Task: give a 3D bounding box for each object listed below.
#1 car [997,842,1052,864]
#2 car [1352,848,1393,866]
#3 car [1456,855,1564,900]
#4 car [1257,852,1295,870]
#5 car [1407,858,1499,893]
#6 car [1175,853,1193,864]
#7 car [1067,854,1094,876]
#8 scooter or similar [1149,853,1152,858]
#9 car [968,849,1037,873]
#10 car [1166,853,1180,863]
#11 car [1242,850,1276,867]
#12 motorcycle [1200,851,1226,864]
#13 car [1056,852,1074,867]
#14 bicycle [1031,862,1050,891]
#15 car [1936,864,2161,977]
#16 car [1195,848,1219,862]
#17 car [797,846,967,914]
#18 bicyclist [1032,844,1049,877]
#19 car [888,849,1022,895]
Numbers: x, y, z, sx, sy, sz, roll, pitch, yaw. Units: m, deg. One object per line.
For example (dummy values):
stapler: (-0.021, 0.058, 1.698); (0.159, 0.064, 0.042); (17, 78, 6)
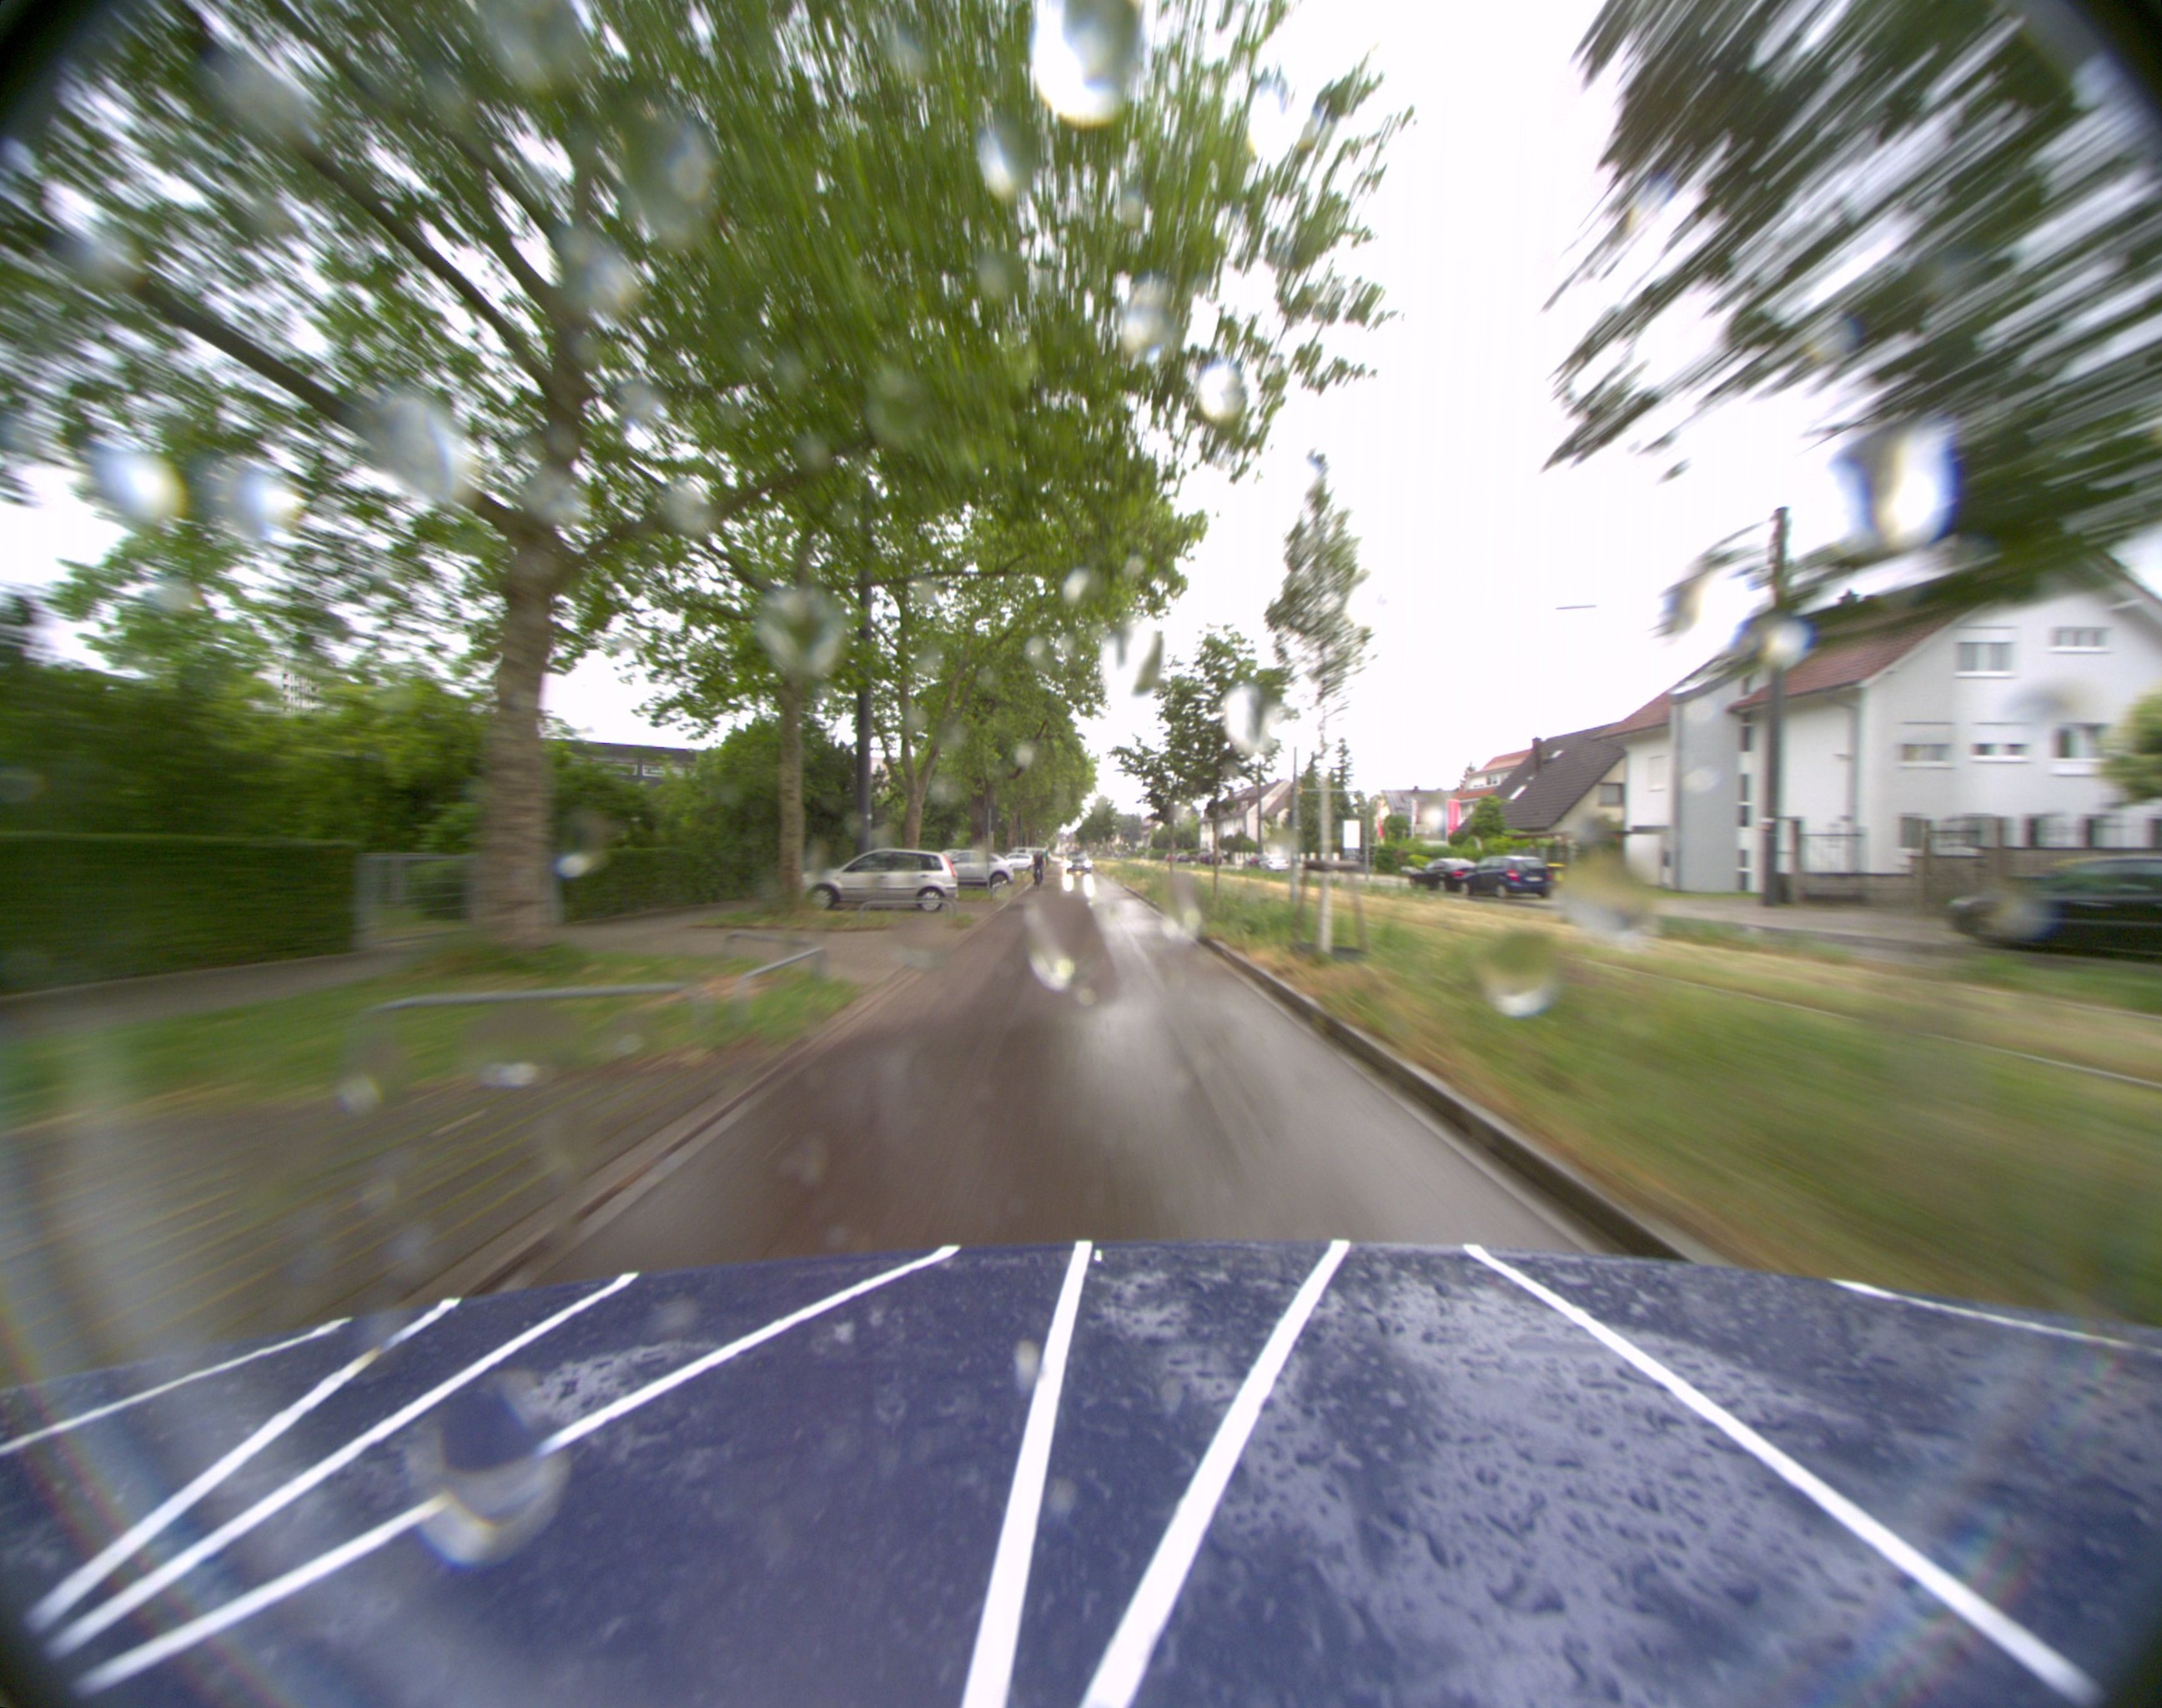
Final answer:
car: (-5.485, -0.063, 74.176); (5.040, 2.002, 1.994); (2, 0, -36)
car: (23.475, 0.245, 61.337); (1.703, 1.402, 3.970); (-2, 0, -1)
car: (16.252, 0.837, 29.024); (1.878, 1.541, 3.869); (-2, 0, -1)
car: (16.061, 0.552, 62.806); (1.999, 1.402, 3.970); (-2, 0, -1)
car: (16.349, 0.906, 33.662); (1.998, 1.343, 4.240); (-2, 0, 1)
car: (15.053, 0.650, 111.383); (1.998, 1.402, 4.761); (-2, 0, 1)
car: (-0.073, 0.754, 55.463); (1.781, 1.477, 3.999); (2, 0, -2)
scooter or similar: (14.836, 0.305, 163.160); (0.347, 0.905, 1.258); (1, 0, -7)
car: (-5.655, 0.493, 54.765); (4.570, 1.535, 1.883); (3, -1, -33)
car: (14.896, 0.622, 122.816); (1.802, 1.448, 4.000); (-2, 0, 1)
car: (15.808, 0.379, 67.833); (1.998, 1.447, 4.531); (-2, 0, 1)
motorcycle: (15.538, 0.420, 89.415); (2.680, 1.403, 1.269); (0, 2, 41)
car: (-1.753, 0.582, 81.236); (1.781, 1.477, 3.999); (2, 0, -2)
bicycle: (-1.773, 0.937, 32.945); (0.675, 1.136, 2.444); (2, 0, -5)
car: (16.377, 0.968, 11.567); (1.998, 1.507, 4.205); (-2, 0, 1)
car: (15.668, 0.116, 94.521); (1.999, 1.665, 4.385); (0, 1, -3)
car: (-4.926, 0.640, 18.868); (3.871, 1.557, 1.616); (2, 0, -18)
bicyclist: (-1.752, 0.281, 32.901); (0.675, 1.421, 0.753); (2, 1, -6)
car: (-4.895, 0.646, 29.847); (4.784, 1.658, 1.989); (0, 1, -37)
